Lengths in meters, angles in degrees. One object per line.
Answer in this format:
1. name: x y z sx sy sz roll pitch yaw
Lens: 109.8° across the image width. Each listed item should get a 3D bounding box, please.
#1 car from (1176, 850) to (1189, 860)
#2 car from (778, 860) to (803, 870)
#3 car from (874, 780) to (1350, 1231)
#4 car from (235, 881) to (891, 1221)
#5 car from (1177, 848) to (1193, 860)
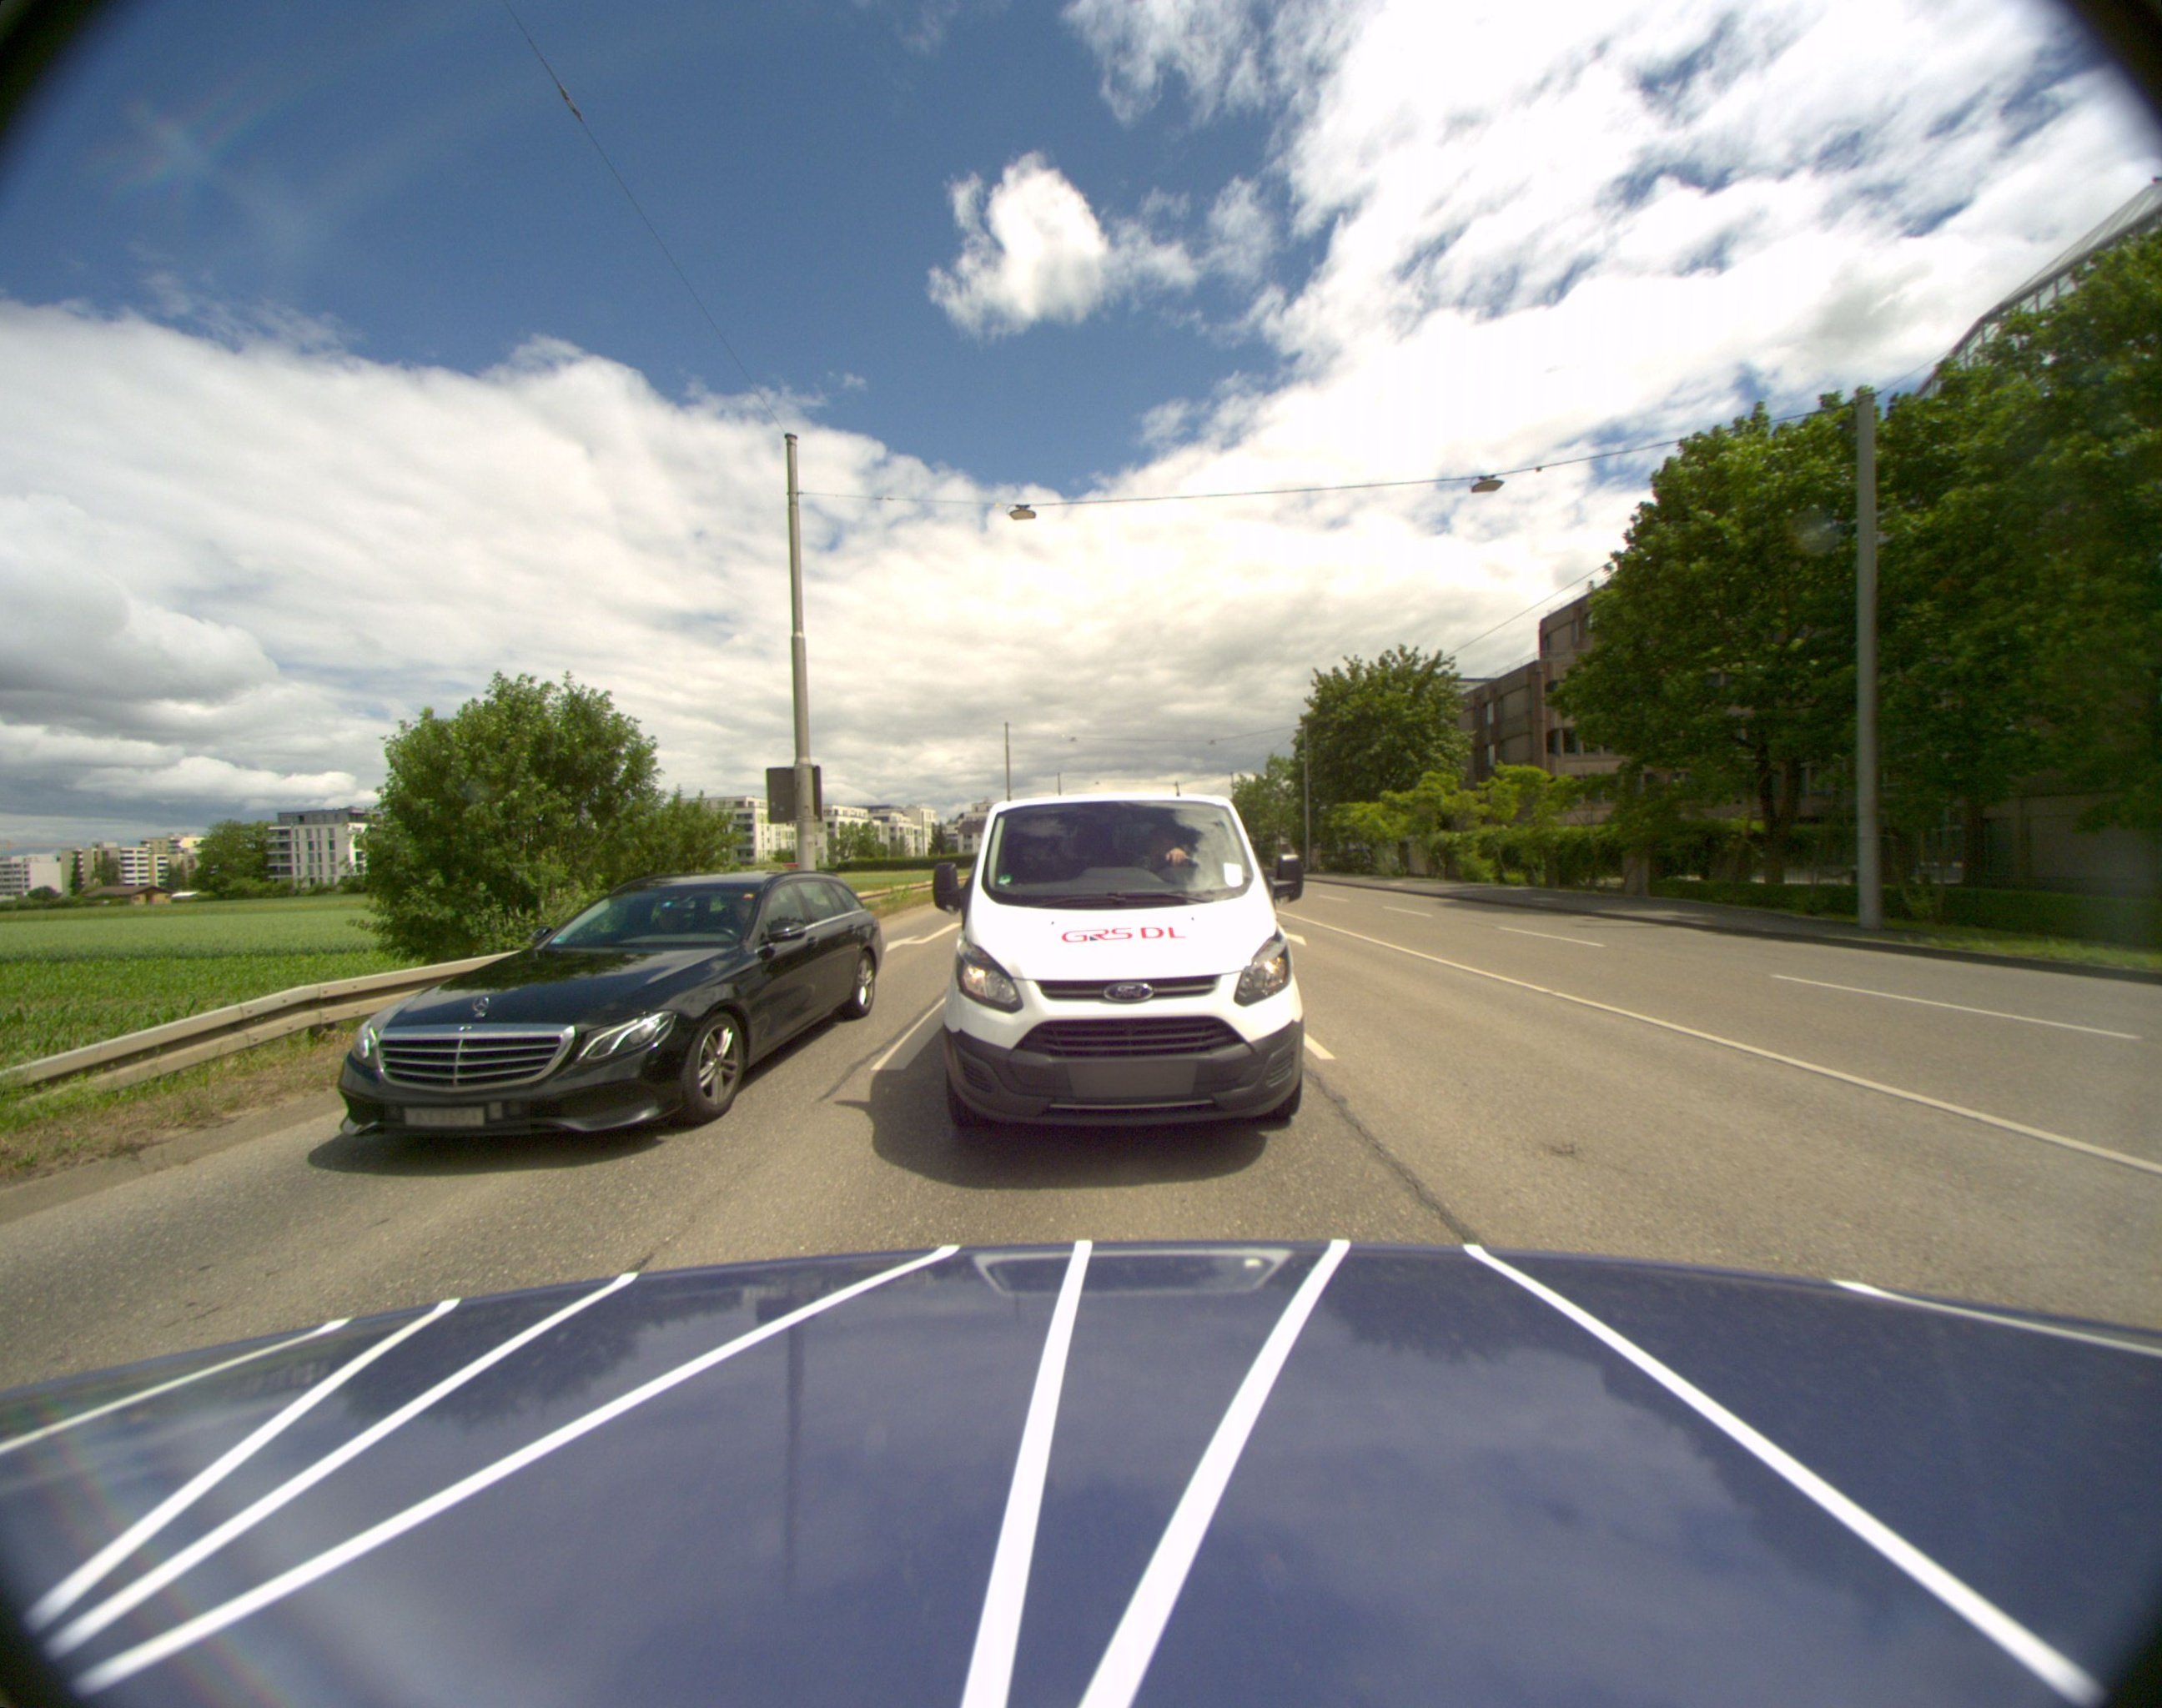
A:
1. car: 18.073 0.178 135.160 1.801 1.576 4.313 -2 1 1
2. car: -59.527 2.277 155.717 4.436 2.002 2.000 -1 1 2
3. car: 0.335 0.643 6.198 1.998 1.907 5.883 -1 0 4
4. car: -3.077 1.019 6.020 1.842 1.528 4.807 -1 -1 1
5. car: 14.851 -0.038 109.042 1.872 1.605 4.571 -1 1 3
